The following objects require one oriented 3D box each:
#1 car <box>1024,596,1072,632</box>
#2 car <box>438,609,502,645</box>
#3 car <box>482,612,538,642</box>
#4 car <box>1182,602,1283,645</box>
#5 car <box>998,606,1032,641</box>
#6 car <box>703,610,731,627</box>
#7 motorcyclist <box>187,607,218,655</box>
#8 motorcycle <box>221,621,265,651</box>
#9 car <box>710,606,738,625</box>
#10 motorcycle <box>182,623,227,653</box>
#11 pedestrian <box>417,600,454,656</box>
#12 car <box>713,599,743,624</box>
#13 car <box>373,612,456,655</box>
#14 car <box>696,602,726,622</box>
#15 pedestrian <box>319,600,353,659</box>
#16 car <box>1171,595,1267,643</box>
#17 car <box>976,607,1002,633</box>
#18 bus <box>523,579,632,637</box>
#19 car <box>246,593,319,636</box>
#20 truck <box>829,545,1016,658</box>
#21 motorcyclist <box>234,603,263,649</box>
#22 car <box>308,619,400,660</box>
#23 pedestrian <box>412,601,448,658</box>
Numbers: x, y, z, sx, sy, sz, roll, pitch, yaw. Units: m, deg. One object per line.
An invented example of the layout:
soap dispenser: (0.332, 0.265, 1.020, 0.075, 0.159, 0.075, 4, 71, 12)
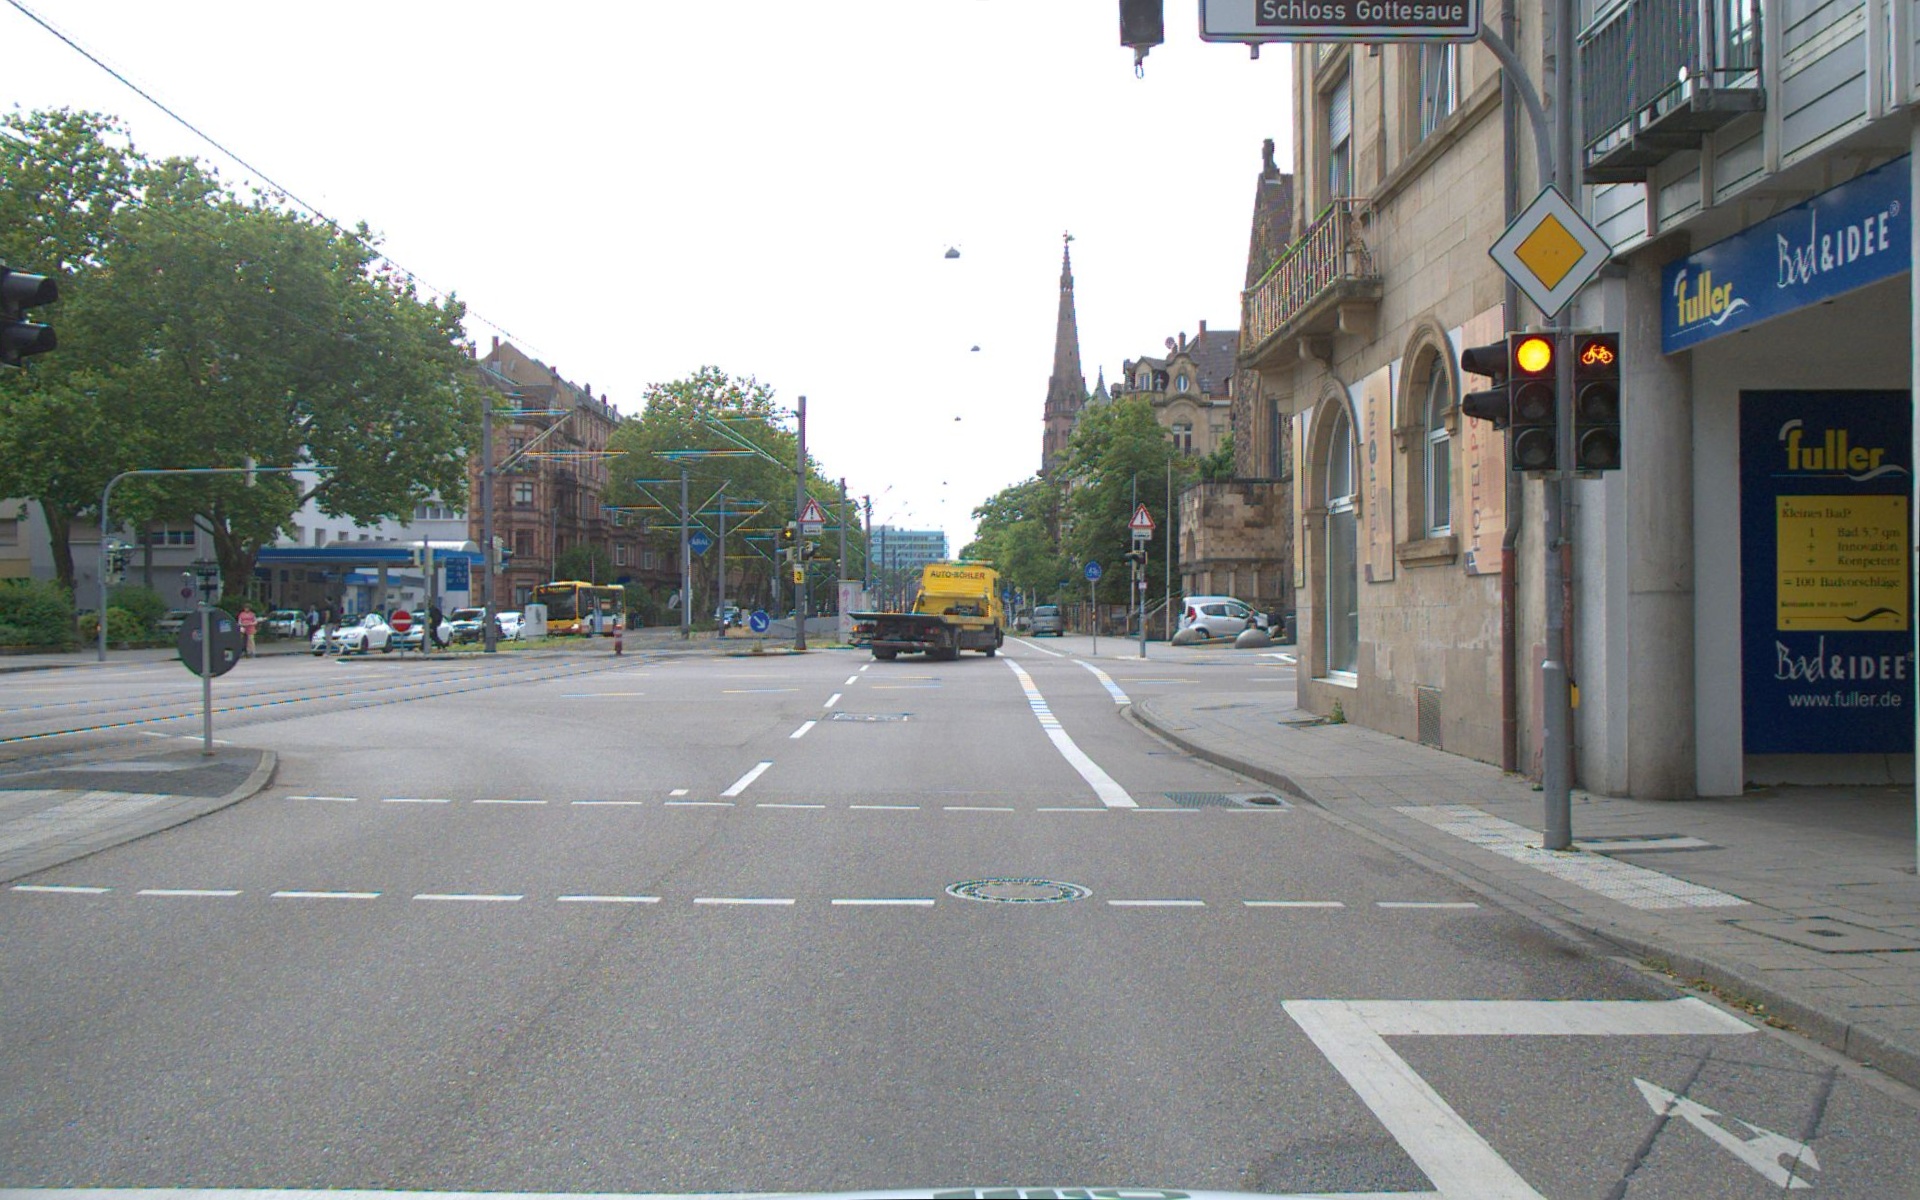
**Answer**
car: (4.818, 0.763, 90.044, 1.951, 1.888, 4.030, 1, 0, 12)
car: (-21.219, 1.139, 71.777, 1.622, 1.504, 3.638, 1, 0, 1)
car: (-21.376, 1.283, 78.696, 1.622, 1.344, 3.638, 1, 0, 1)
car: (10.678, 0.919, 65.028, 3.638, 1.591, 2.000, 1, 0, -1)
car: (3.291, 1.412, 99.633, 1.952, 2.049, 4.000, 1, 0, 1)
car: (-19.811, 1.534, 134.884, 1.622, 1.344, 3.638, 1, 0, 1)
motorcyclist: (-24.673, 0.995, 53.903, 0.607, 1.546, 0.873, 0, 0, -1)
motorcycle: (-23.686, 1.169, 54.668, 0.594, 0.945, 1.951, 0, 0, 0)
car: (-21.232, 1.420, 148.822, 1.953, 1.639, 3.999, 1, 0, -1)
motorcycle: (-24.676, 1.245, 54.074, 0.594, 0.945, 1.951, 0, 0, 0)
pedestrian: (-16.316, 0.869, 51.499, 0.853, 1.743, 0.875, 0, 0, 1)
car: (-19.789, 0.953, 141.257, 1.953, 2.049, 3.999, 1, 1, -1)
car: (-21.419, 1.288, 65.124, 1.953, 1.622, 3.999, 1, 0, -1)
car: (-21.221, 1.018, 141.178, 1.953, 1.639, 3.999, 1, 0, -1)
pedestrian: (-18.582, 0.870, 49.291, 0.669, 1.720, 0.742, 1, -1, 4)
car: (10.695, 0.788, 68.553, 3.638, 1.888, 2.000, 1, 0, -1)
car: (2.376, 1.617, 136.200, 1.953, 2.049, 3.999, 1, 0, -1)
bus: (-21.855, 0.446, 95.430, 3.164, 3.088, 12.312, 1, 0, 1)
car: (-32.872, 0.699, 80.377, 1.953, 2.049, 3.999, 0, 0, -1)
truck: (-0.790, 0.054, 46.451, 2.990, 2.817, 9.823, 0, 0, 12)
motorcyclist: (-23.655, 0.859, 55.003, 0.607, 1.546, 0.873, 0, 0, -1)
car: (-21.432, 1.372, 58.658, 1.711, 1.344, 4.075, 1, 0, 1)
pedestrian: (-16.272, 0.905, 50.793, 0.849, 1.743, 0.691, 0, 0, 3)
